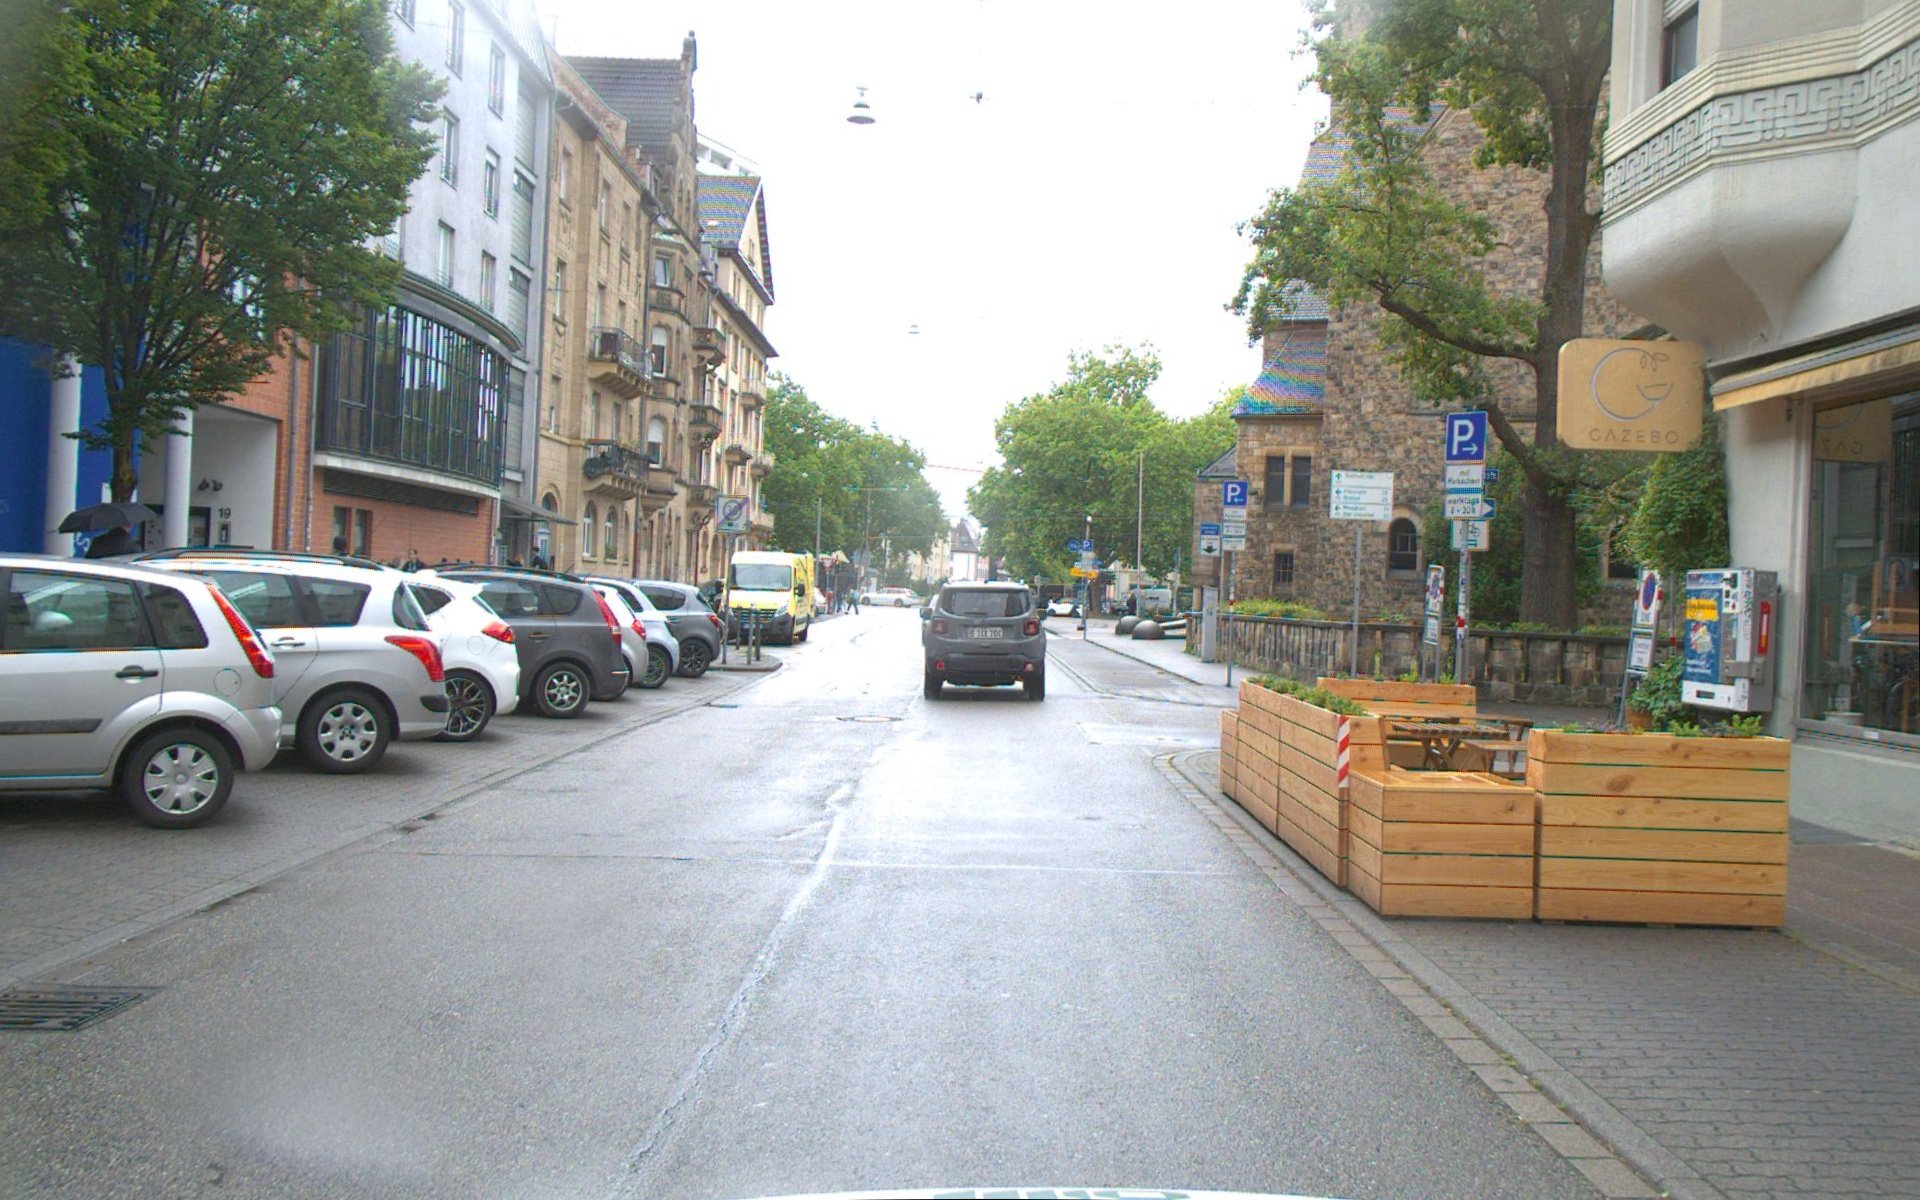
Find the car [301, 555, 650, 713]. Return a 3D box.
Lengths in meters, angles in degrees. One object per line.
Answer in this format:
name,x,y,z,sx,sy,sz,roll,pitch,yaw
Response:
car,-5.307,0.380,18.189,3.341,1.568,1.663,3,0,-31

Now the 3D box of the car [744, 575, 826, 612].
car,-8.789,-0.319,83.029,3.695,1.586,1.653,4,-1,-34

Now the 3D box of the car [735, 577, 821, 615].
car,-8.508,-0.197,77.293,3.464,1.544,1.864,4,-1,-33

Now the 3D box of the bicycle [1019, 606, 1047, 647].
bicycle,1.990,0.706,45.286,0.690,1.072,1.813,1,0,1

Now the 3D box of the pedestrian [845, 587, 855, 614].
pedestrian,-6.464,0.021,97.270,0.458,1.613,0.752,2,0,-1

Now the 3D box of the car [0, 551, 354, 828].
car,-5.601,0.464,9.517,3.671,1.477,1.665,1,0,-35

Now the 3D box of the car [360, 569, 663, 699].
car,-5.690,0.439,21.050,3.345,1.483,1.662,3,0,-34

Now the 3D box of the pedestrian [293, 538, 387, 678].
pedestrian,-8.312,0.102,22.195,0.808,1.782,0.757,4,0,7

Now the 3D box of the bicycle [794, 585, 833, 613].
bicycle,-8.063,-0.071,90.817,2.061,1.469,0.488,1,0,-20

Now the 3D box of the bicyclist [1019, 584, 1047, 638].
bicyclist,2.002,0.298,45.286,0.690,1.428,1.171,1,0,0

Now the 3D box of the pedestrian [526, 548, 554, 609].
pedestrian,-12.456,-0.640,49.041,0.651,1.788,0.791,1,0,-23

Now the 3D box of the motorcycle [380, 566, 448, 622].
motorcycle,-12.474,-0.142,37.845,0.738,1.194,2.116,4,0,1

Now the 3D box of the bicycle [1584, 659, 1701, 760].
bicycle,7.258,1.152,17.680,0.442,0.996,1.920,2,-3,0

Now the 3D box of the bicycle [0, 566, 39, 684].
bicycle,-10.721,0.166,17.189,1.858,1.172,0.553,6,0,-2

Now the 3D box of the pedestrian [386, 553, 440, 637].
pedestrian,-10.743,-0.094,32.499,0.694,1.578,0.608,4,0,7

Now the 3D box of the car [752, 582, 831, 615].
car,-8.185,-0.066,80.406,3.382,1.339,1.759,4,-1,-33

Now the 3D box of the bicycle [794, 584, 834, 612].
bicycle,-7.929,-0.094,89.825,2.078,1.469,0.536,1,0,-20

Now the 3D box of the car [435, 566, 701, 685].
car,-5.612,0.372,23.738,3.340,1.533,1.664,3,0,-30

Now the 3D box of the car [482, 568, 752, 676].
car,-5.494,0.358,26.522,3.778,1.533,1.969,3,0,-30

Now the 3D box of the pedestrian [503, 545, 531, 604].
pedestrian,-13.063,-0.749,48.767,0.651,1.704,0.791,1,0,-23

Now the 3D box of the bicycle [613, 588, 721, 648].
bicycle,-6.110,0.378,34.548,2.089,1.116,0.594,4,0,1

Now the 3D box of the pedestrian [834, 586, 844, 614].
pedestrian,-7.049,-0.022,96.463,0.458,1.613,0.659,2,0,-1

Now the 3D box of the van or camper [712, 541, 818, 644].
van or camper,-5.332,-0.103,46.184,2.078,2.575,6.873,-2,-2,0

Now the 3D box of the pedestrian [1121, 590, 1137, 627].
pedestrian,8.022,0.407,78.556,0.676,1.741,0.684,1,0,0

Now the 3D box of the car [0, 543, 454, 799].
car,-5.659,0.471,12.259,3.344,1.683,1.616,1,0,-33

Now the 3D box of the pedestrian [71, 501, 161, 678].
pedestrian,-8.480,-0.099,16.631,0.599,1.737,0.433,2,-2,1

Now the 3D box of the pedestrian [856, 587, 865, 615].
pedestrian,-5.856,0.047,97.350,0.458,1.613,0.752,2,0,-1

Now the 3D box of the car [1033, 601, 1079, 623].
car,7.039,0.863,121.269,3.121,1.527,1.543,1,0,18

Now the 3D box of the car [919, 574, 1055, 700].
car,0.350,0.503,25.245,1.860,1.700,4.505,2,0,-1

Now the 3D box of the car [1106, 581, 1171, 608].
car,16.379,-0.508,151.975,5.780,2.375,2.061,1,0,4

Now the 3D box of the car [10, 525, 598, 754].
car,-5.840,0.392,14.839,4.468,1.566,2.312,6,-3,-33
